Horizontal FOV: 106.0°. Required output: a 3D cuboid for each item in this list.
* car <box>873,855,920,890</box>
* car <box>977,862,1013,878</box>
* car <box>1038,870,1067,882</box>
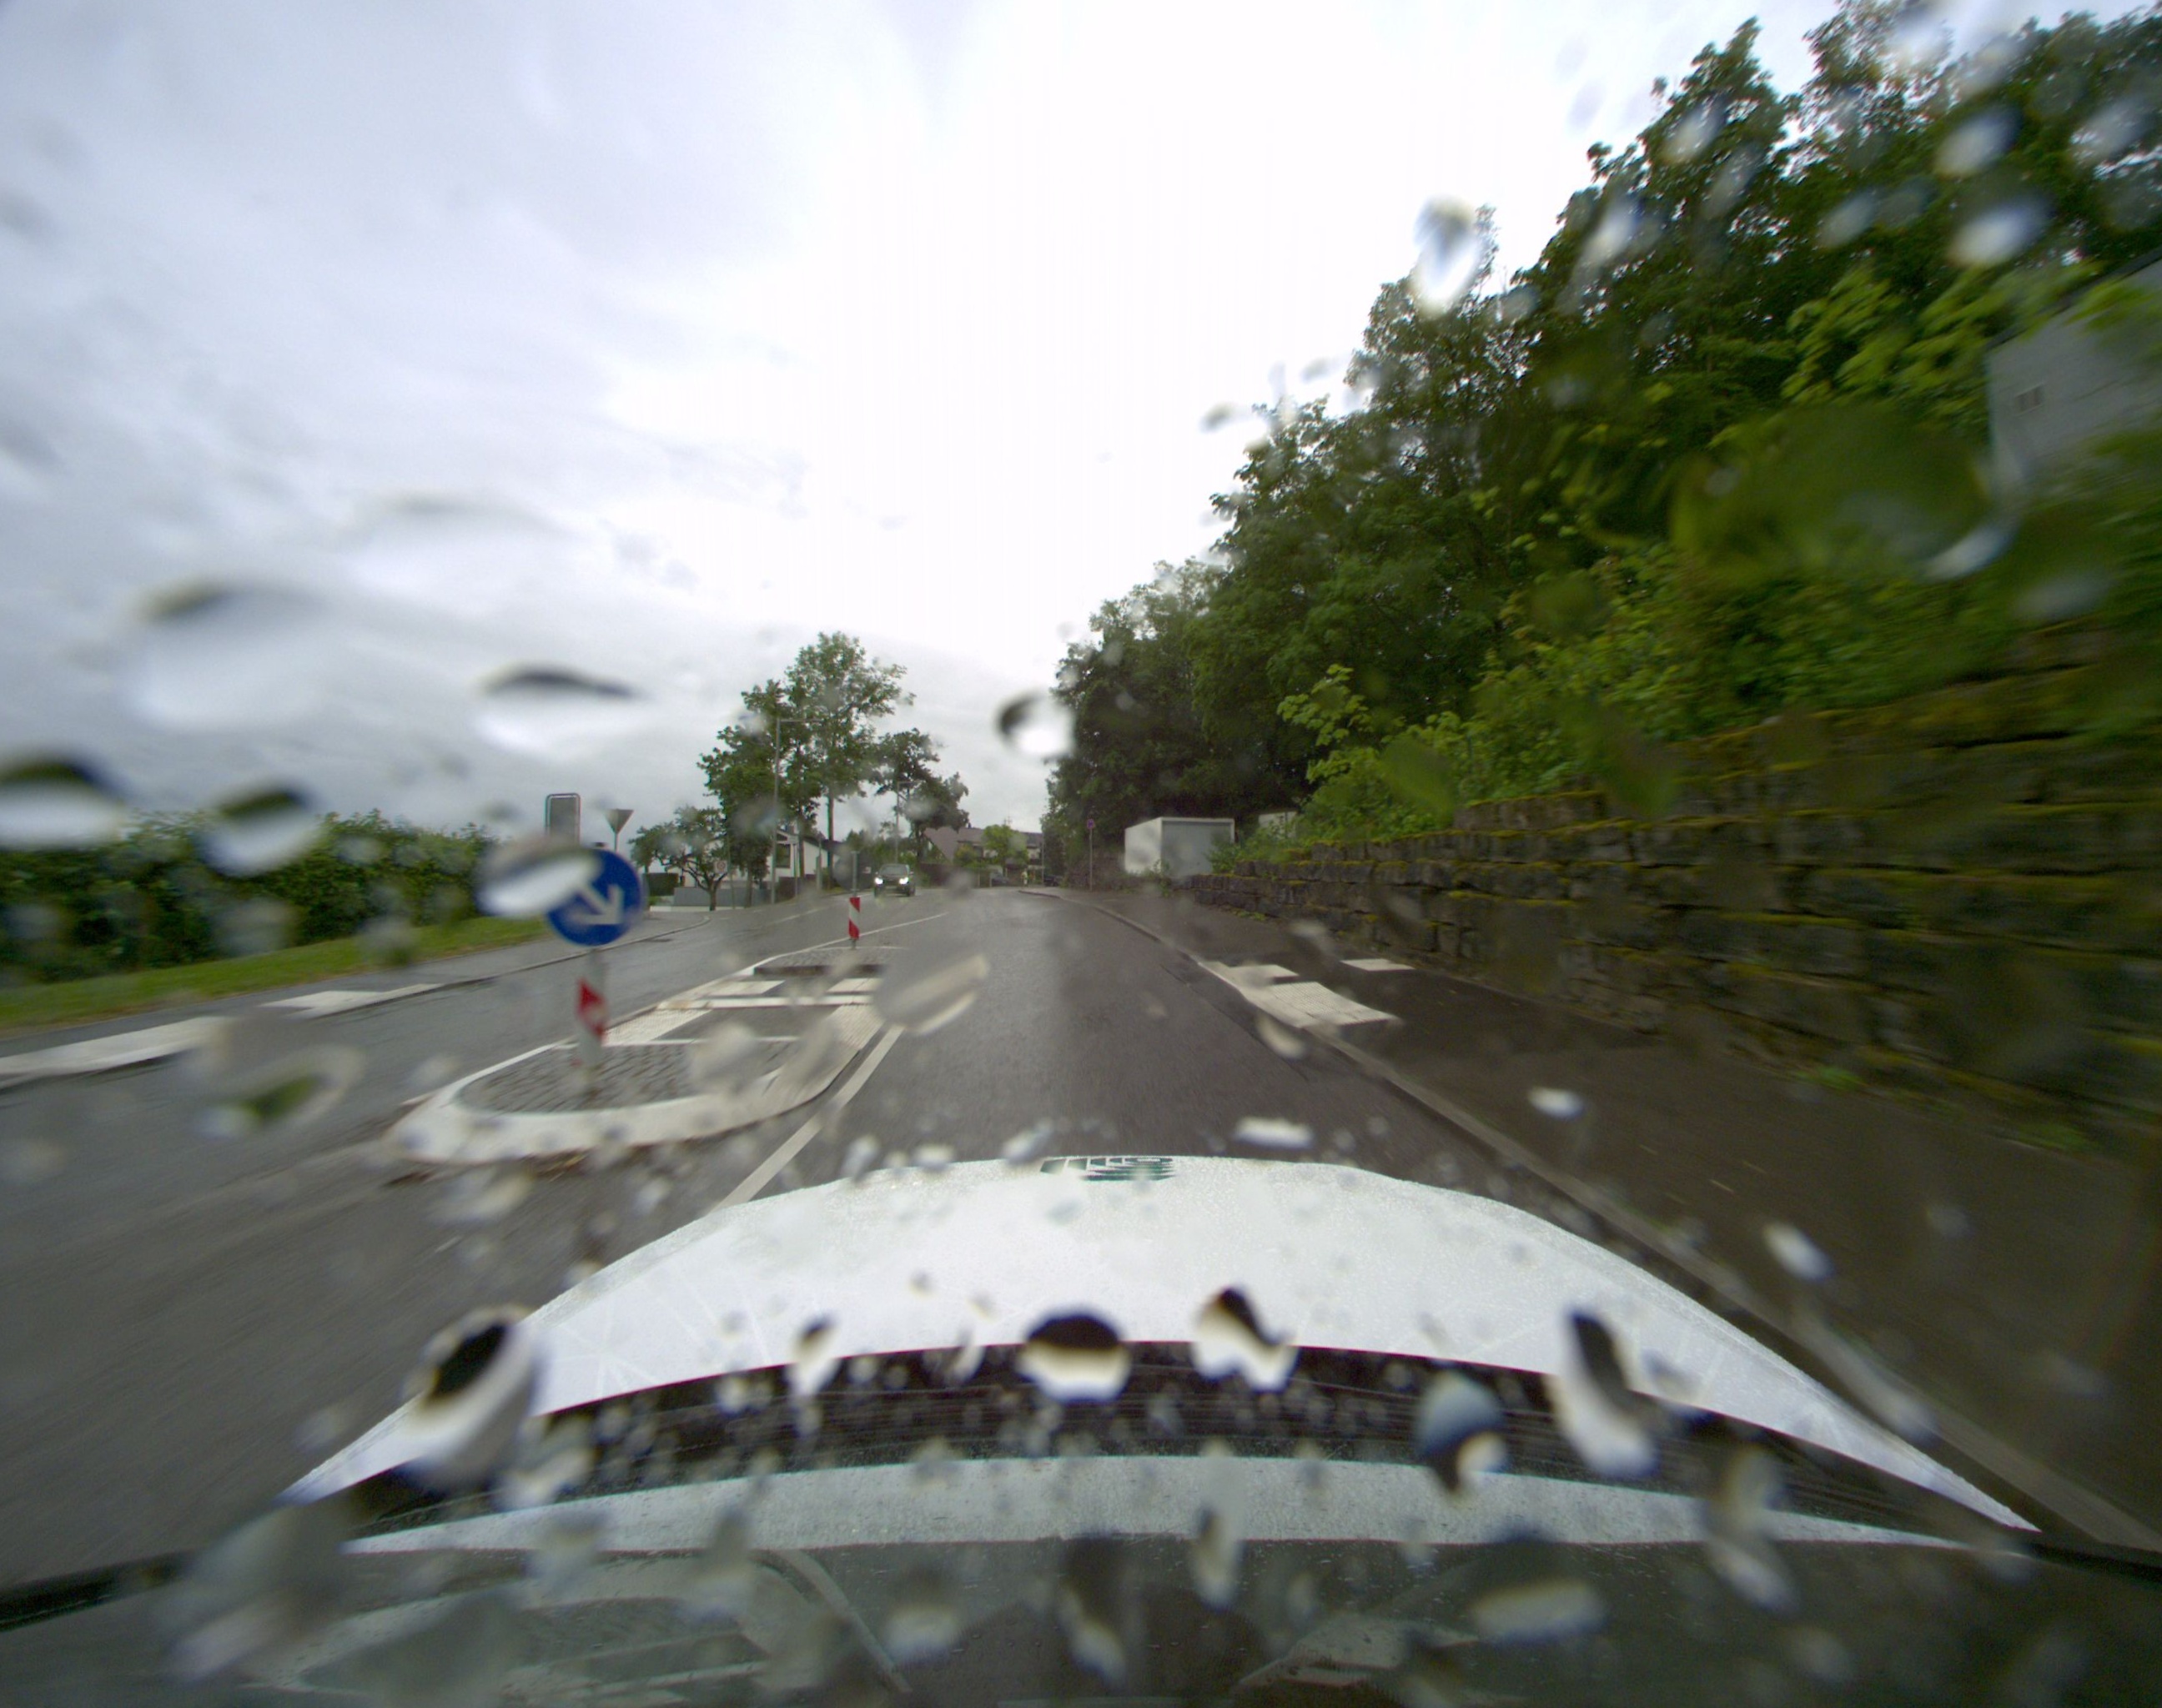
[{"bbox_3d":[-8.957,0.871,39.823,1.831,1.520,4.613,-2,0,-8],"label":"car"},{"bbox_3d":[-9.450,1.782,89.371,2.024,1.632,3.952,3,-2,-41],"label":"car"},{"bbox_3d":[-3.473,2.607,97.640,1.945,1.389,3.964,3,-2,-28],"label":"car"}]
